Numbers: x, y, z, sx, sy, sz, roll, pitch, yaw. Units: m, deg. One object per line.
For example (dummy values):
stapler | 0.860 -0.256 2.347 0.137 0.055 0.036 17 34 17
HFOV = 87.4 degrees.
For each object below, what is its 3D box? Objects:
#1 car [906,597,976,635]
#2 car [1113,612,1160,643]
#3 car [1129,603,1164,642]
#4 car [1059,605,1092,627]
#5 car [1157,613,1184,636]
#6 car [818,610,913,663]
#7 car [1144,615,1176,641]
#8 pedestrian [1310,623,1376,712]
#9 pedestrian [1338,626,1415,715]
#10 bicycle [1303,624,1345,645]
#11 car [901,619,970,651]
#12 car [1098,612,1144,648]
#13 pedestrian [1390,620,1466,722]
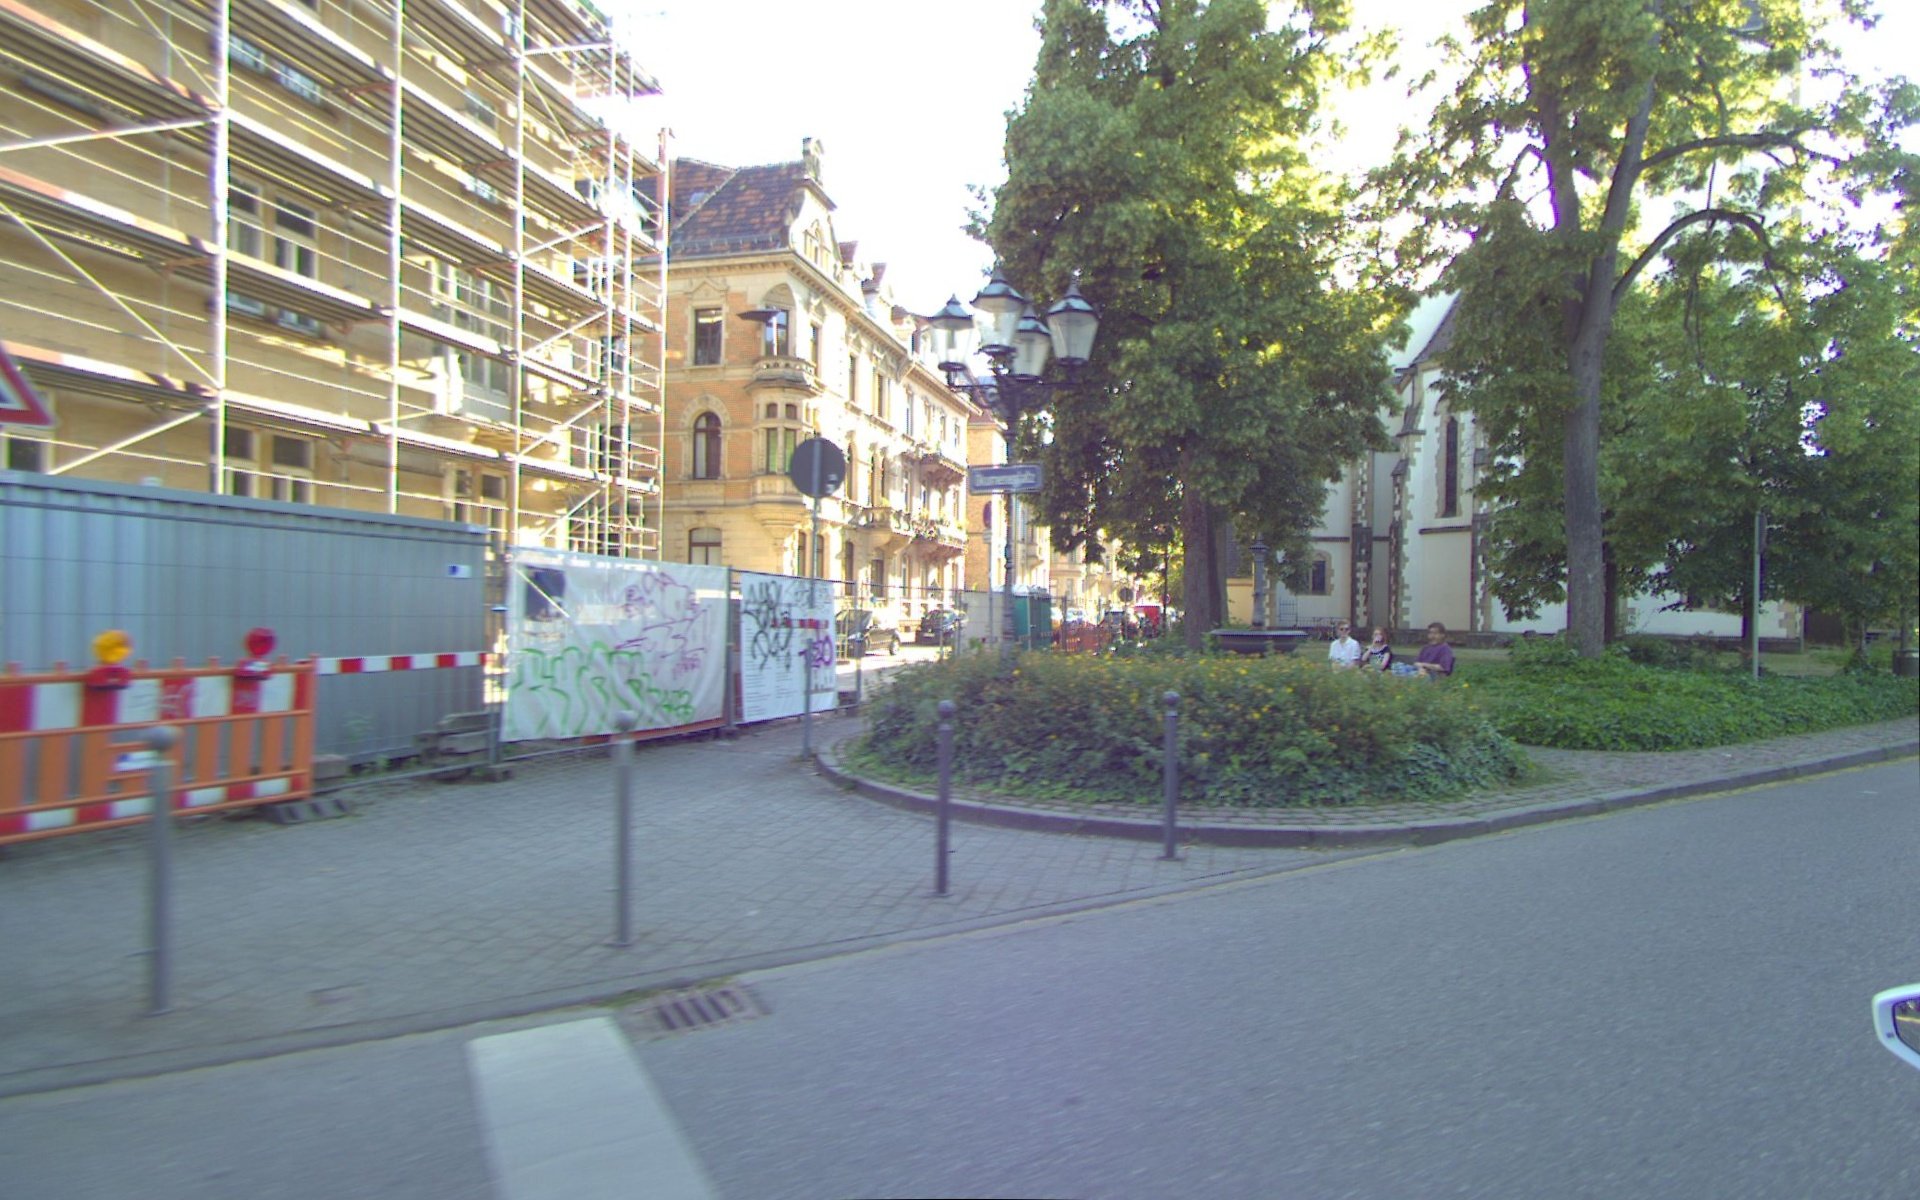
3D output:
car | -1.195 1.013 64.528 4.135 2.291 1.893 1 -1 15
car | 10.075 1.547 57.210 1.855 1.677 4.220 1 -1 21
car | 11.769 1.399 63.090 1.853 2.291 4.223 1 -1 14
car | 9.205 1.262 80.081 1.960 1.677 4.222 1 -1 15
car | 16.516 1.899 78.573 1.853 1.677 4.223 1 -1 14
car | -3.174 1.204 34.754 1.874 1.677 4.222 1 -1 15
car | 13.761 1.883 68.942 1.853 1.677 4.223 1 -1 14
pedestrian | 5.581 0.973 14.642 0.714 1.249 0.550 1 0 -22
pedestrian | 5.861 0.981 14.142 0.871 1.211 0.550 1 0 -22
bicycle | 17.237 1.641 47.586 1.846 0.930 0.423 1 0 18
car | -1.003 1.498 44.045 1.874 1.295 4.222 1 -1 15
car | 7.971 1.467 49.540 1.853 1.677 4.223 1 -1 14
pedestrian | 6.229 0.933 13.382 0.754 1.315 0.550 1 0 -22
